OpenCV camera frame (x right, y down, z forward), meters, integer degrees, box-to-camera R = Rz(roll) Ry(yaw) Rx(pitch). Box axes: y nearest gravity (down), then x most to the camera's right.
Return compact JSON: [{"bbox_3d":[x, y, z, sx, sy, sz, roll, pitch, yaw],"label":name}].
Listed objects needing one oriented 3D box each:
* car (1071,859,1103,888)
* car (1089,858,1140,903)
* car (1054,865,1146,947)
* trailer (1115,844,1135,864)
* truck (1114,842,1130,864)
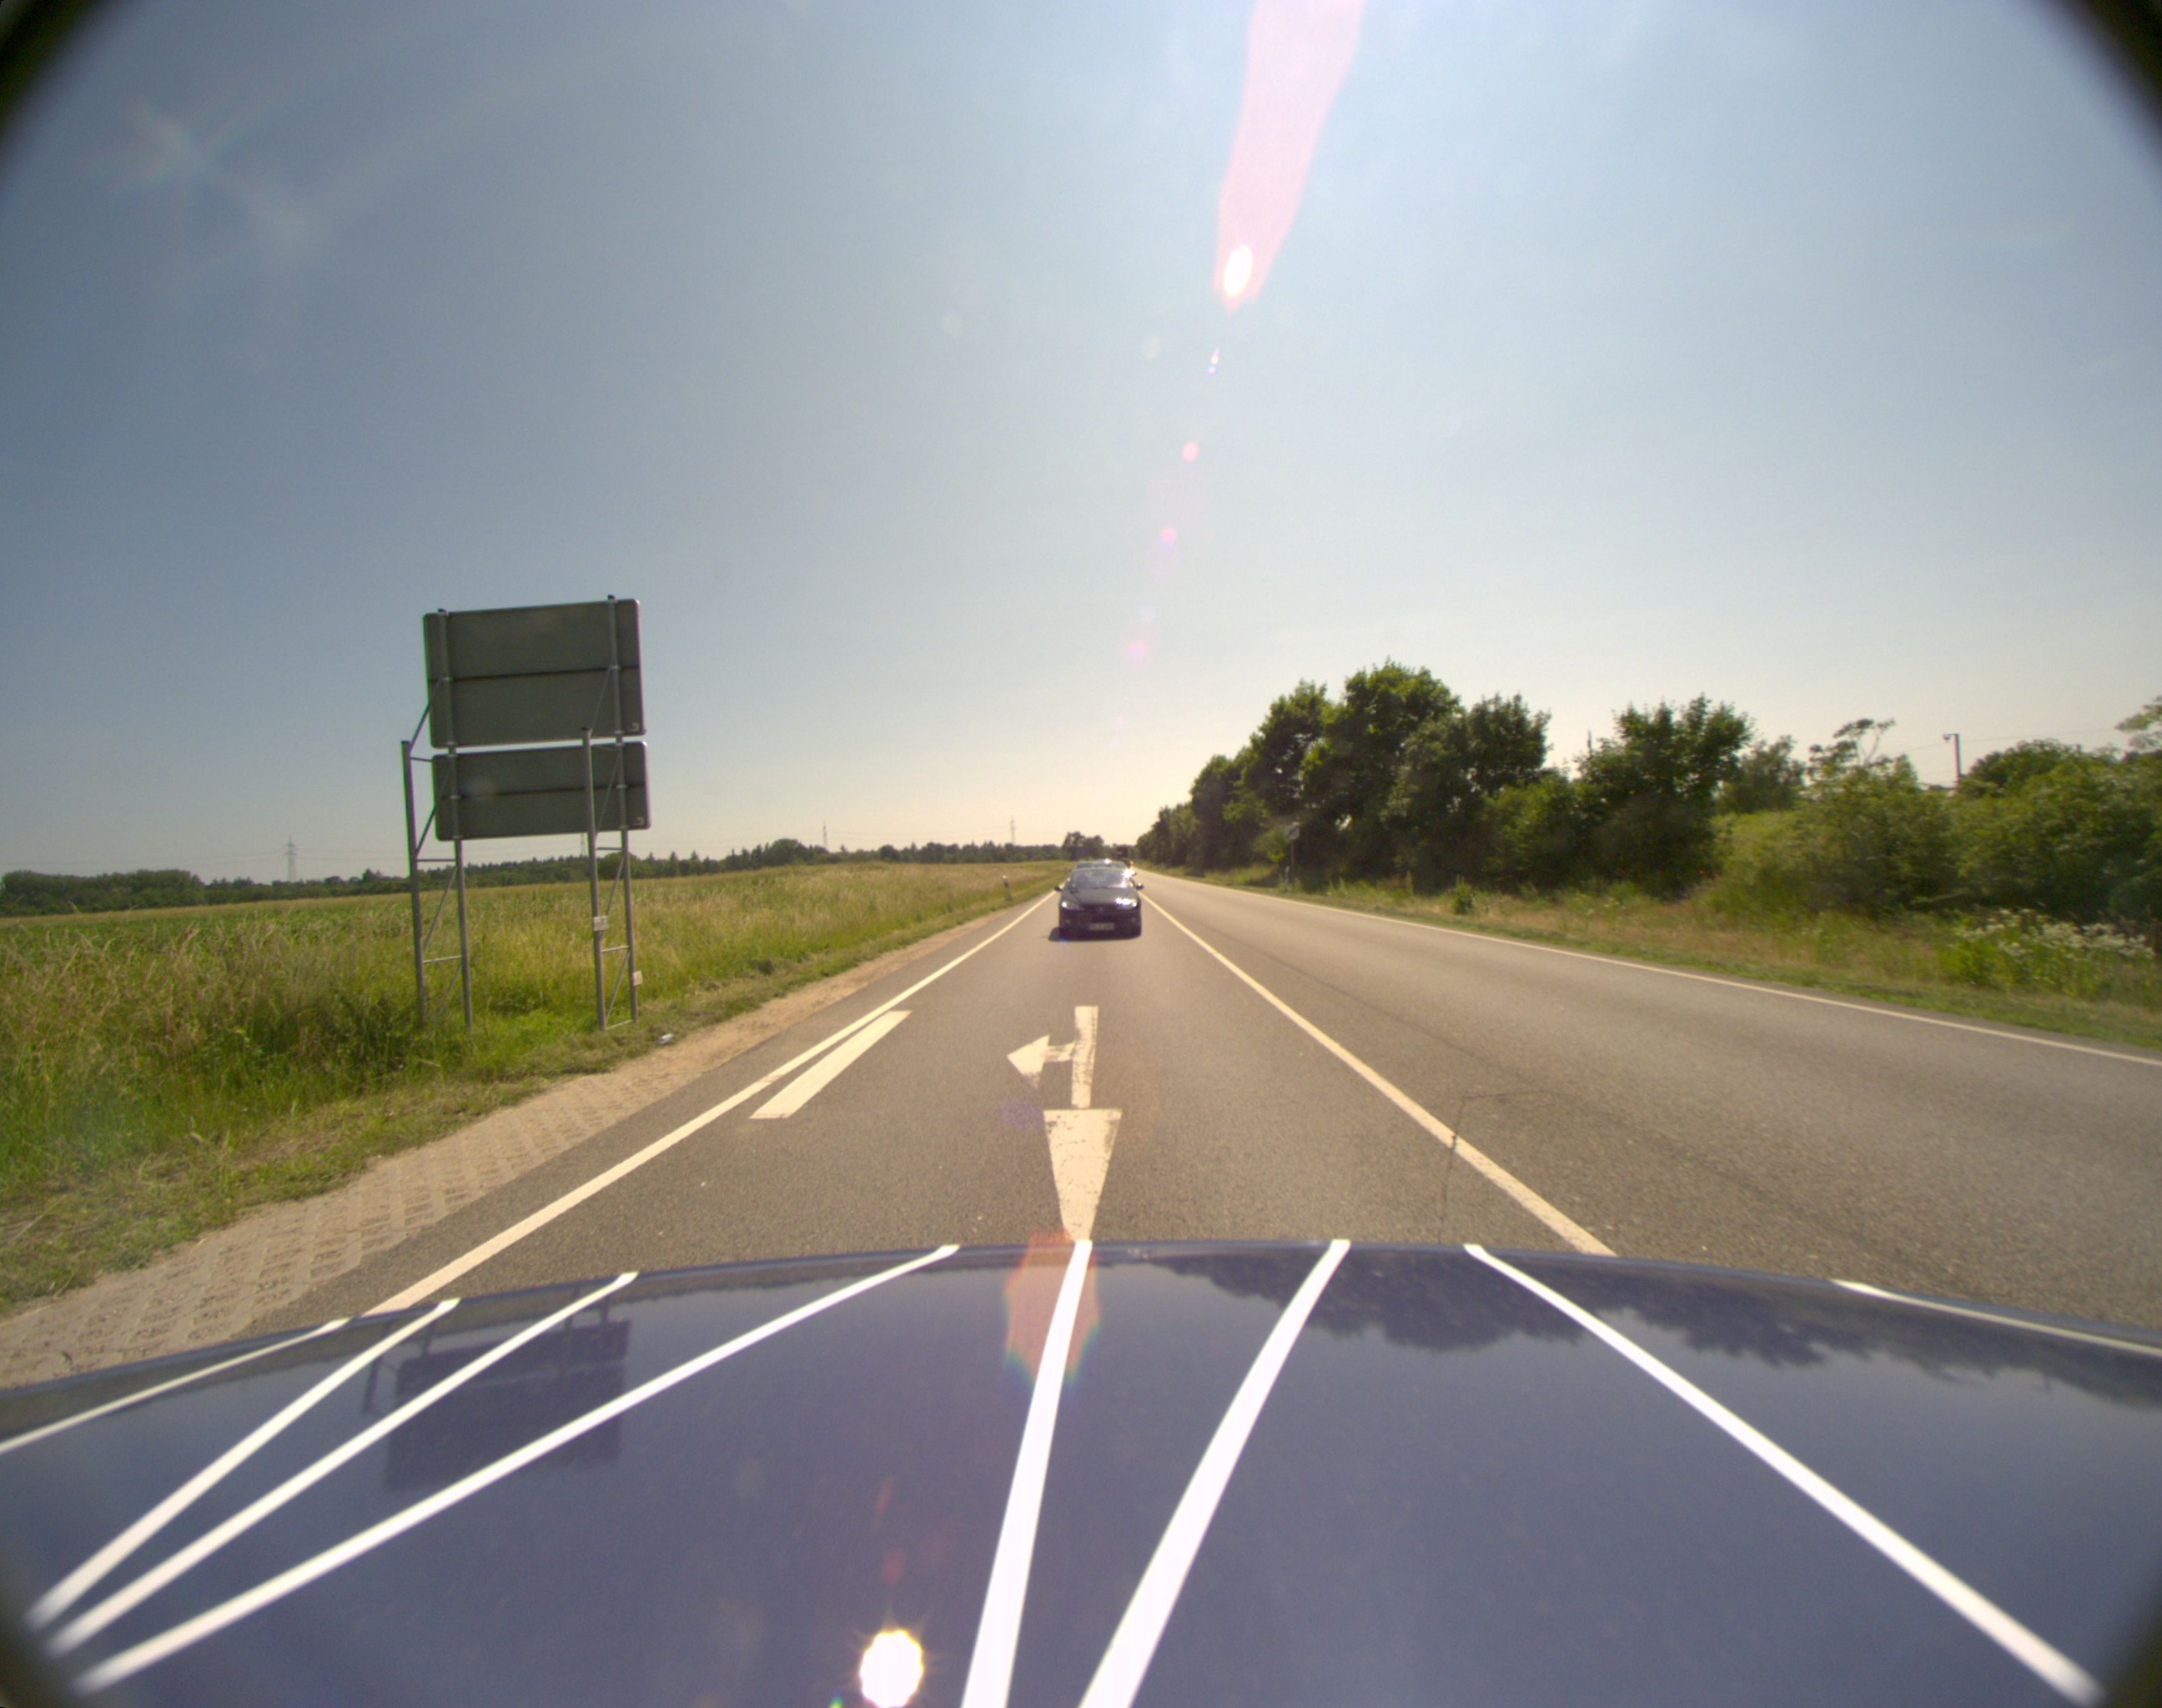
[{"bbox_3d":[0.282,1.049,42.931,1.665,1.449,4.172,-2,0,-1],"label":"car"},{"bbox_3d":[1.178,0.939,28.288,1.665,1.477,3.731,-2,0,0],"label":"car"},{"bbox_3d":[0.399,0.989,15.953,1.665,1.389,3.732,-2,0,1],"label":"car"},{"bbox_3d":[7.705,0.013,135.773,2.669,3.440,14.949,-1,0,0],"label":"trailer"},{"bbox_3d":[7.721,-0.223,143.092,2.709,3.908,5.952,-1,0,0],"label":"truck"}]
